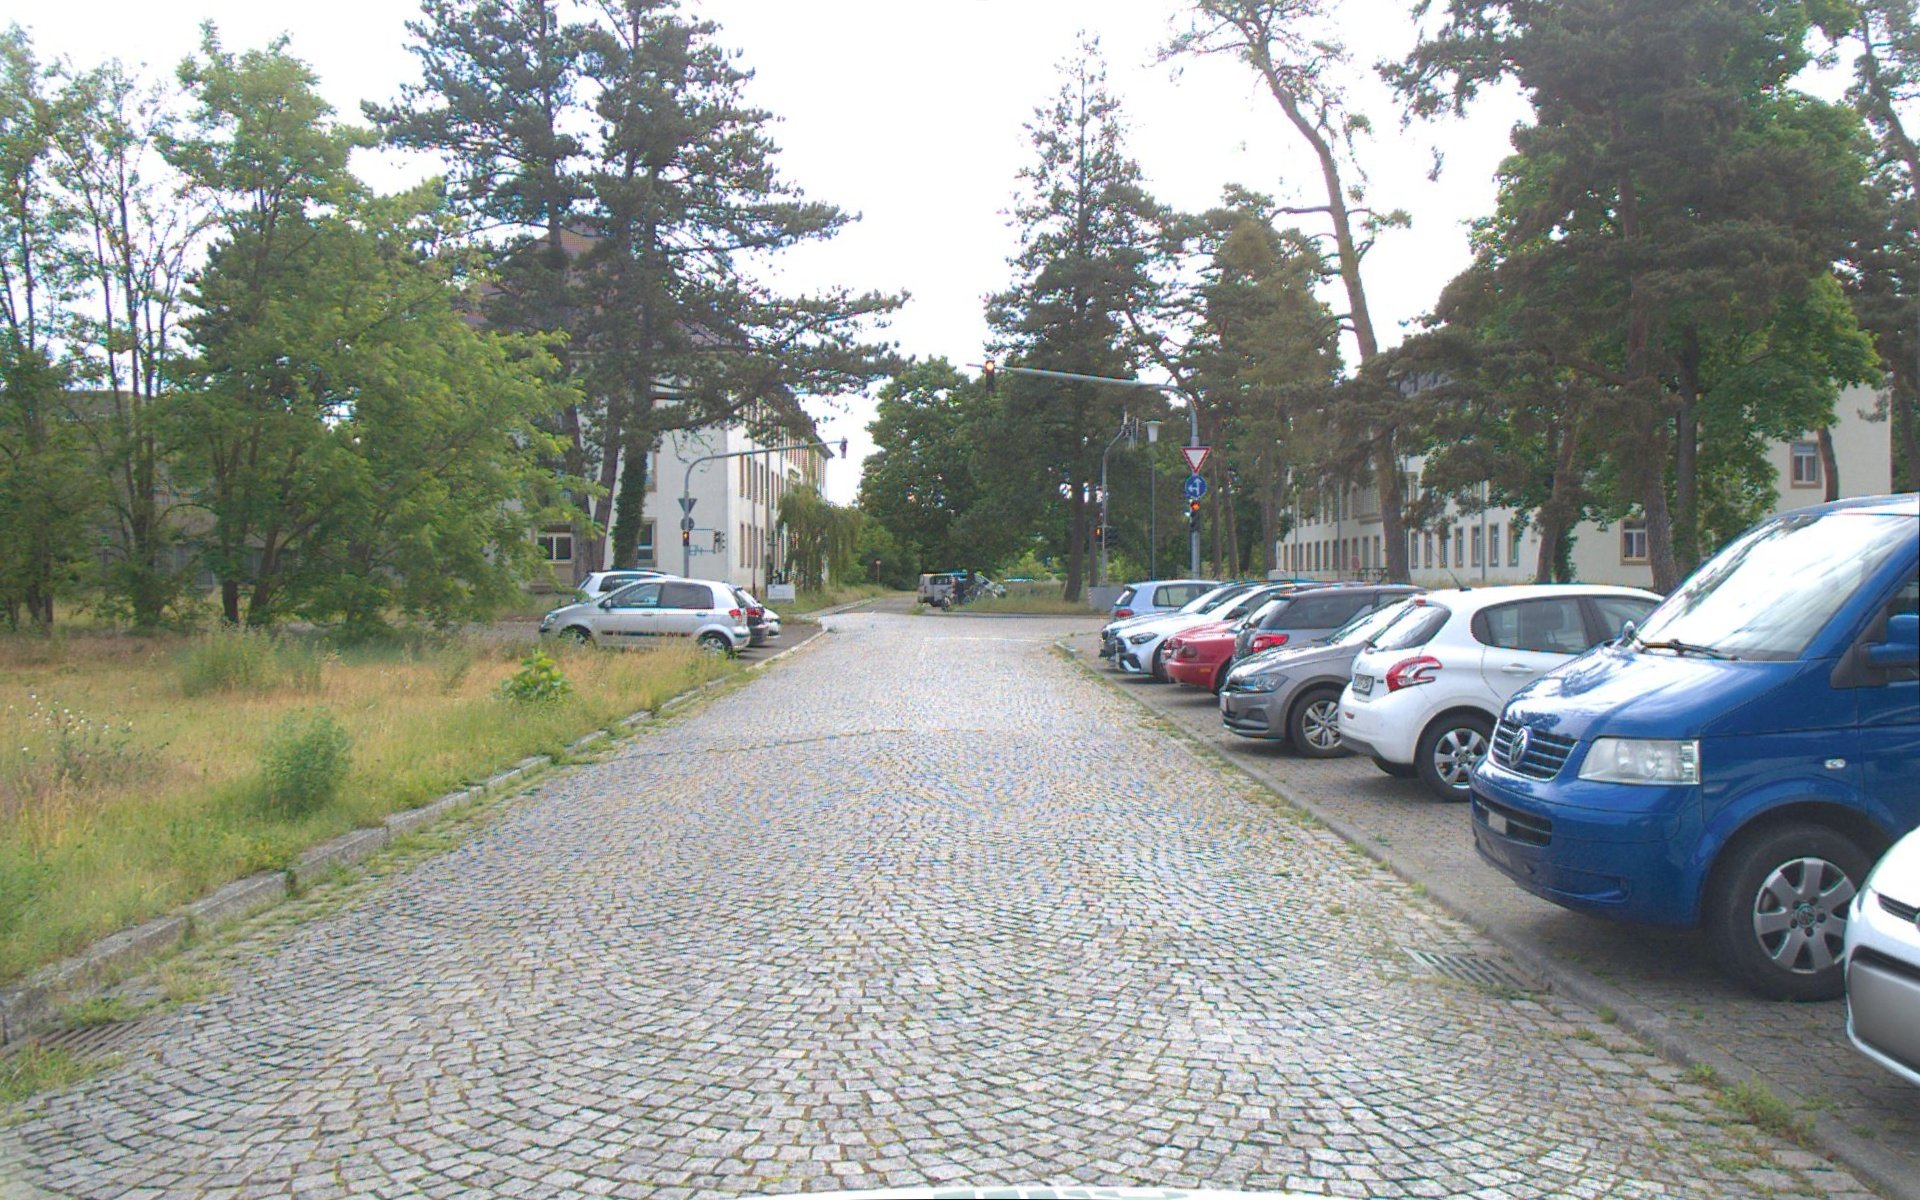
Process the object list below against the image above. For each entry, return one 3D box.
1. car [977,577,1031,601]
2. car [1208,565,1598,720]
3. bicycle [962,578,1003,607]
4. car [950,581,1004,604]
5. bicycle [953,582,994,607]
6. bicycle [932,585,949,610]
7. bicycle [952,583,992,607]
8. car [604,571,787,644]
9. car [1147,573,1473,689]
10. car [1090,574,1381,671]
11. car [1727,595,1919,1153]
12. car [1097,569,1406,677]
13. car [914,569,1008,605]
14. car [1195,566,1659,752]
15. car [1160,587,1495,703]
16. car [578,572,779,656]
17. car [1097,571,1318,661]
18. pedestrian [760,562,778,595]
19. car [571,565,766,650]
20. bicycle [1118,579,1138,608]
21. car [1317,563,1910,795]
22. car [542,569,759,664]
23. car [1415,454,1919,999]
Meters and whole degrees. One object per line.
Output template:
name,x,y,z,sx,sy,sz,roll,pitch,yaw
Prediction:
car,2.691,-0.691,101.568,3.168,1.441,1.724,0,1,-4
car,4.802,0.434,18.276,3.785,1.497,1.757,-2,1,-2
bicycle,1.097,-0.348,81.044,1.918,1.408,0.587,0,1,-8
car,0.971,-0.439,94.299,2.948,1.290,1.533,0,1,-7
bicycle,0.647,-0.272,79.573,1.918,1.152,0.587,0,1,-8
bicycle,-0.890,-0.131,76.354,0.591,1.152,1.959,0,1,-6
bicycle,0.577,-0.256,80.205,1.918,1.136,0.587,0,1,-8
car,-5.982,0.157,37.739,3.868,1.446,1.650,3,0,-2
car,4.863,0.406,23.389,4.175,1.441,1.871,-2,1,-1
car,4.653,0.358,28.340,4.588,1.441,1.870,-2,1,-3
car,4.499,0.702,4.681,3.785,1.497,1.841,-2,1,-2
car,4.471,0.326,25.650,4.341,1.441,1.867,-2,1,-10
car,0.059,-0.758,97.646,5.263,1.958,2.020,-2,1,-10
car,4.246,0.505,15.425,3.785,1.497,1.757,-2,1,-2
car,4.545,0.535,20.838,3.785,1.257,1.757,-2,1,-2
car,-5.456,0.260,32.426,3.672,1.453,1.581,3,0,-4
car,4.548,0.271,30.790,3.846,1.503,1.643,-2,1,1
pedestrian,-10.986,-1.237,95.124,0.766,1.869,0.733,-1,0,-32
car,-6.146,0.146,35.194,3.870,1.590,1.649,3,0,-4
bicycle,6.864,-0.272,67.558,0.574,1.125,1.961,0,1,-1
car,4.827,0.542,12.570,3.785,1.497,1.757,-2,1,-2
car,-5.521,0.281,29.827,3.630,1.505,1.581,3,0,-4
car,4.645,0.393,7.216,4.711,1.979,2.002,-2,1,-2
